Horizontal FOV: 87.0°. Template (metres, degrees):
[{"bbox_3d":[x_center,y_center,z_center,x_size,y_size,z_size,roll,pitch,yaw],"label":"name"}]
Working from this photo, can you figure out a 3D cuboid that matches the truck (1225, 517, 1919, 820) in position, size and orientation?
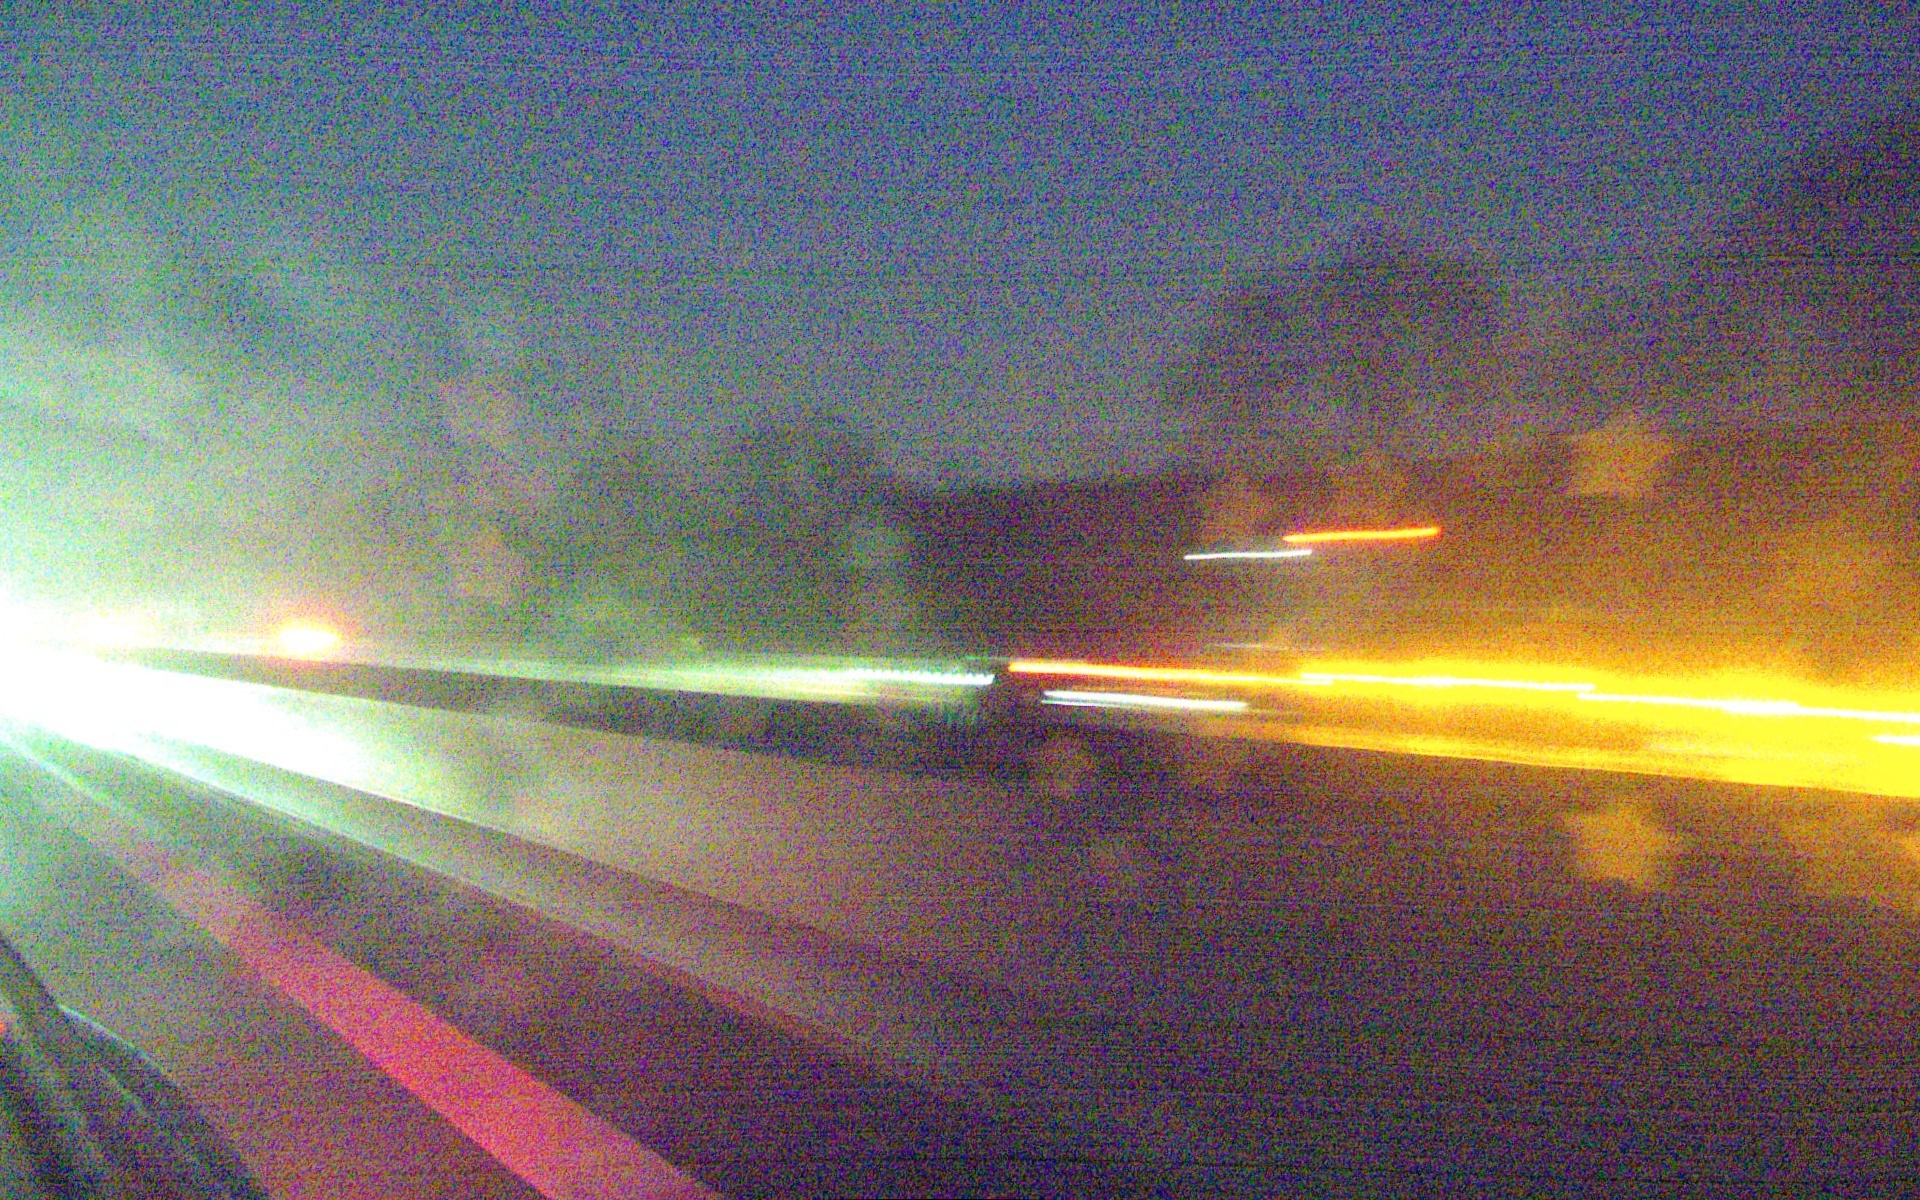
[{"bbox_3d":[9.897,1.025,17.176,10.202,3.938,2.839,-2,-3,40],"label":"truck"}]

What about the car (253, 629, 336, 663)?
[{"bbox_3d":[-32.011,2.192,48.628,4.526,1.571,1.975,-2,-2,37],"label":"car"}]

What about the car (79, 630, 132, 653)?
[{"bbox_3d":[-55.215,2.656,65.384,4.435,1.451,1.972,-2,-3,42],"label":"car"}]

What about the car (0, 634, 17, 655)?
[{"bbox_3d":[-66.910,3.054,70.067,4.435,1.451,1.972,-2,-3,42],"label":"car"}]

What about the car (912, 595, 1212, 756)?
[{"bbox_3d":[1.413,1.024,14.877,3.998,2.029,1.973,-2,-3,41],"label":"car"}]
